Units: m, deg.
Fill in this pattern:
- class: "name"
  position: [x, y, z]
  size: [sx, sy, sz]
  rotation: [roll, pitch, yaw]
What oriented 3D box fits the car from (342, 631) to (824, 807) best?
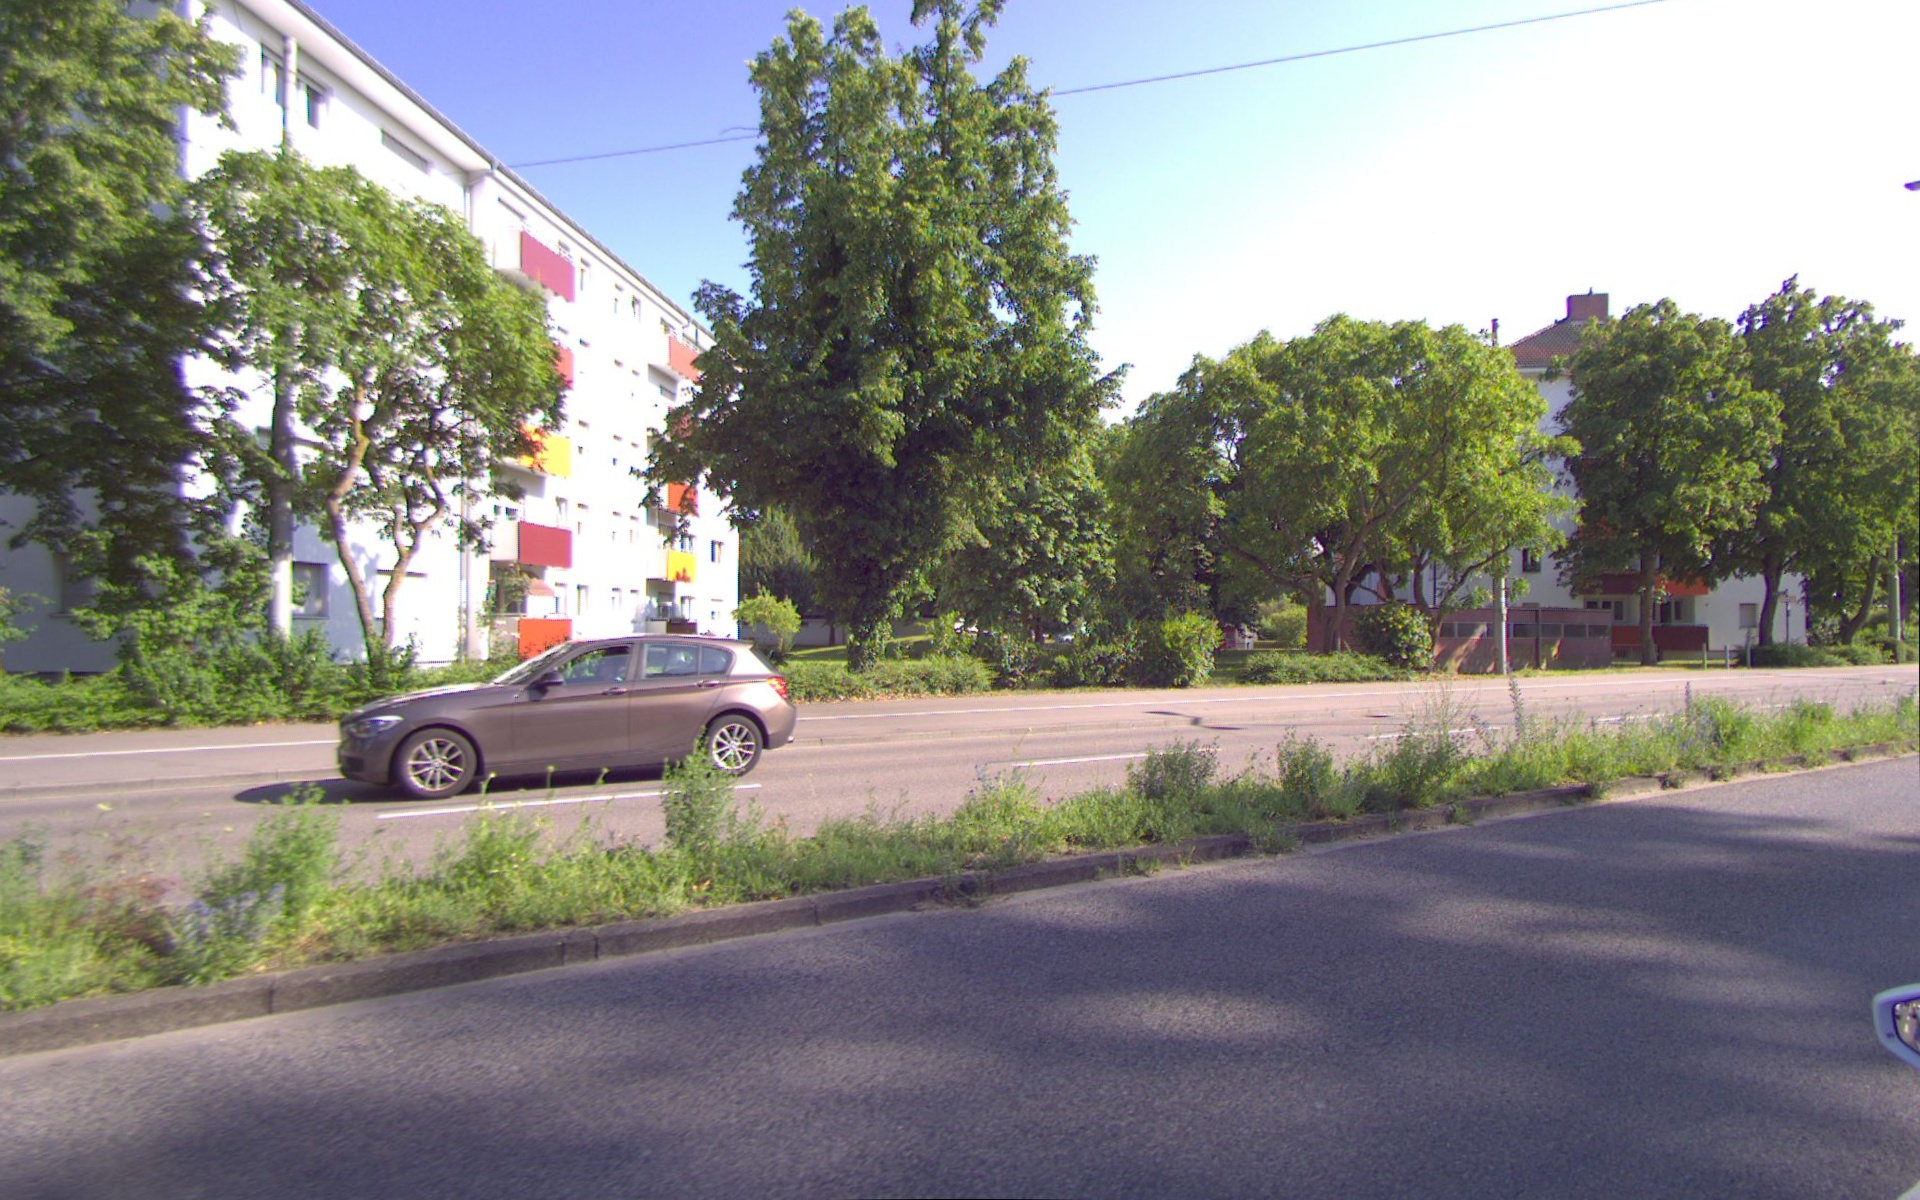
- class: "car"
  position: [-3.684, 1.051, 10.133]
  size: [4.275, 1.438, 1.716]
  rotation: [1, -3, -31]
